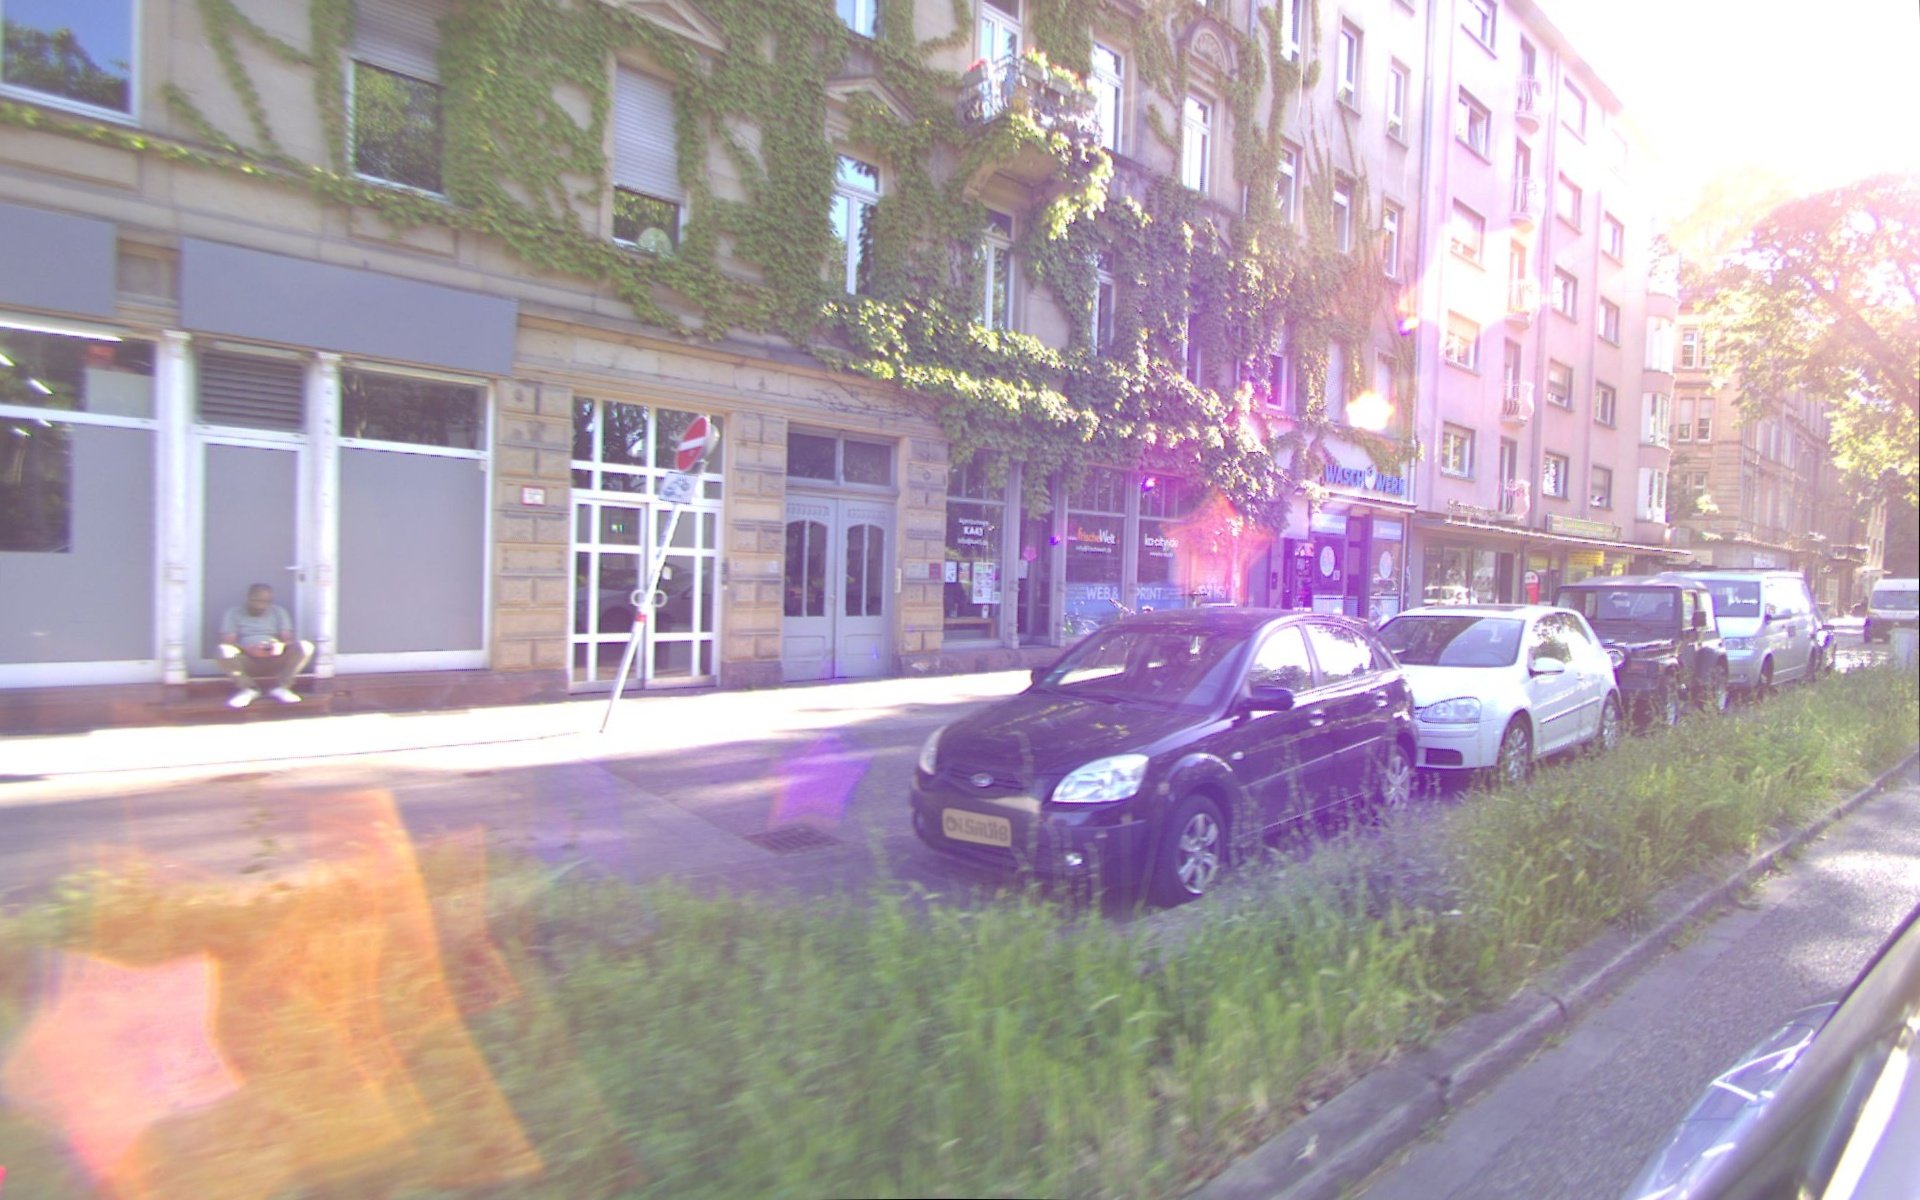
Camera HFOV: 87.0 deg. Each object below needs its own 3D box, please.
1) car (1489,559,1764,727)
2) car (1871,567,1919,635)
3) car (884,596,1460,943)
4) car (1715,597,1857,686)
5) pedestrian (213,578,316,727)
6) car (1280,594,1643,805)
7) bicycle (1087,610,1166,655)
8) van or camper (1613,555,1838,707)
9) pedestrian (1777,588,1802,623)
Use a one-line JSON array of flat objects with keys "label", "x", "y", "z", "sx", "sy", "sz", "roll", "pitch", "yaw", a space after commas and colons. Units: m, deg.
[{"label": "car", "x": 8.566, "y": 0.447, "z": 12.896, "sx": 3.929, "sy": 1.785, "sz": 1.868, "roll": 1, "pitch": 2, "yaw": -41}, {"label": "car", "x": 36.679, "y": 0.060, "z": 38.647, "sx": 5.753, "sy": 2.464, "sz": 2.078, "roll": 1, "pitch": 1, "yaw": -41}, {"label": "car", "x": 1.558, "y": 0.759, "z": 6.450, "sx": 3.932, "sy": 1.537, "sz": 1.642, "roll": 0, "pitch": -1, "yaw": -43}, {"label": "car", "x": 16.160, "y": 0.745, "z": 19.731, "sx": 3.763, "sy": 1.497, "sz": 1.592, "roll": 0, "pitch": 2, "yaw": -43}, {"label": "pedestrian", "x": -6.374, "y": 0.454, "z": 9.272, "sx": 0.701, "sy": 1.276, "sz": 0.717, "roll": 1, "pitch": 1, "yaw": -41}, {"label": "car", "x": 4.765, "y": 0.730, "z": 9.366, "sx": 3.932, "sy": 1.537, "sz": 1.740, "roll": 0, "pitch": -1, "yaw": -43}, {"label": "bicycle", "x": 2.852, "y": 0.538, "z": 17.246, "sx": 1.486, "sy": 0.714, "sz": 0.469, "roll": 1, "pitch": 2, "yaw": -41}, {"label": "van or camper", "x": 12.307, "y": 0.405, "z": 16.123, "sx": 5.007, "sy": 2.038, "sz": 1.887, "roll": 1, "pitch": 2, "yaw": -42}, {"label": "pedestrian", "x": 39.013, "y": 0.262, "z": 47.620, "sx": 0.718, "sy": 1.585, "sz": 0.738, "roll": 2, "pitch": 1, "yaw": -40}]
